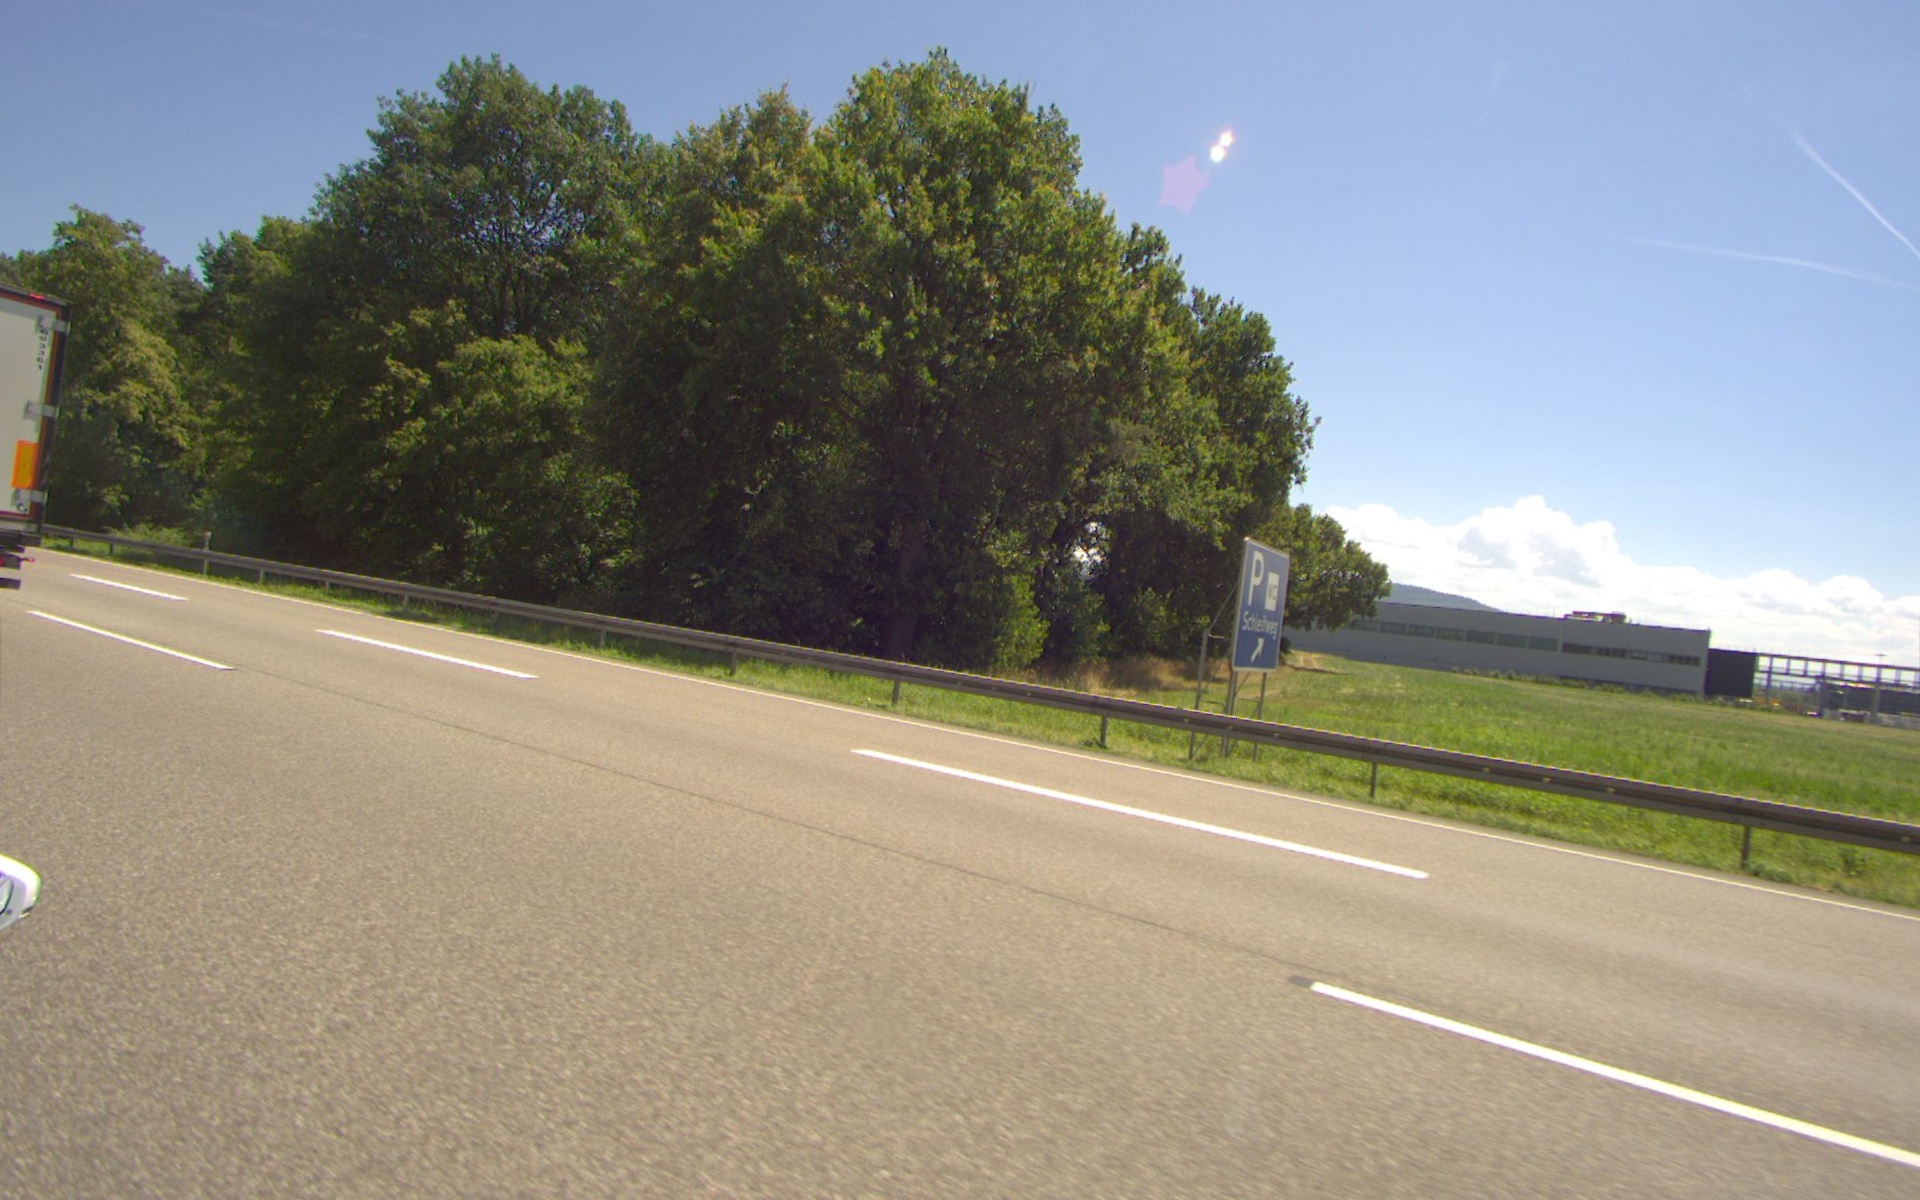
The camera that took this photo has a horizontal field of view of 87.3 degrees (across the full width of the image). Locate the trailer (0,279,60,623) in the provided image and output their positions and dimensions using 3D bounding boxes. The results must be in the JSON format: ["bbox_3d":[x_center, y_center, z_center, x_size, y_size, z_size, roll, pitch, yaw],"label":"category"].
[{"bbox_3d":[-17.585,-2.519,14.715,12.149,4.194,3.227,7,0,33],"label":"trailer"}]
